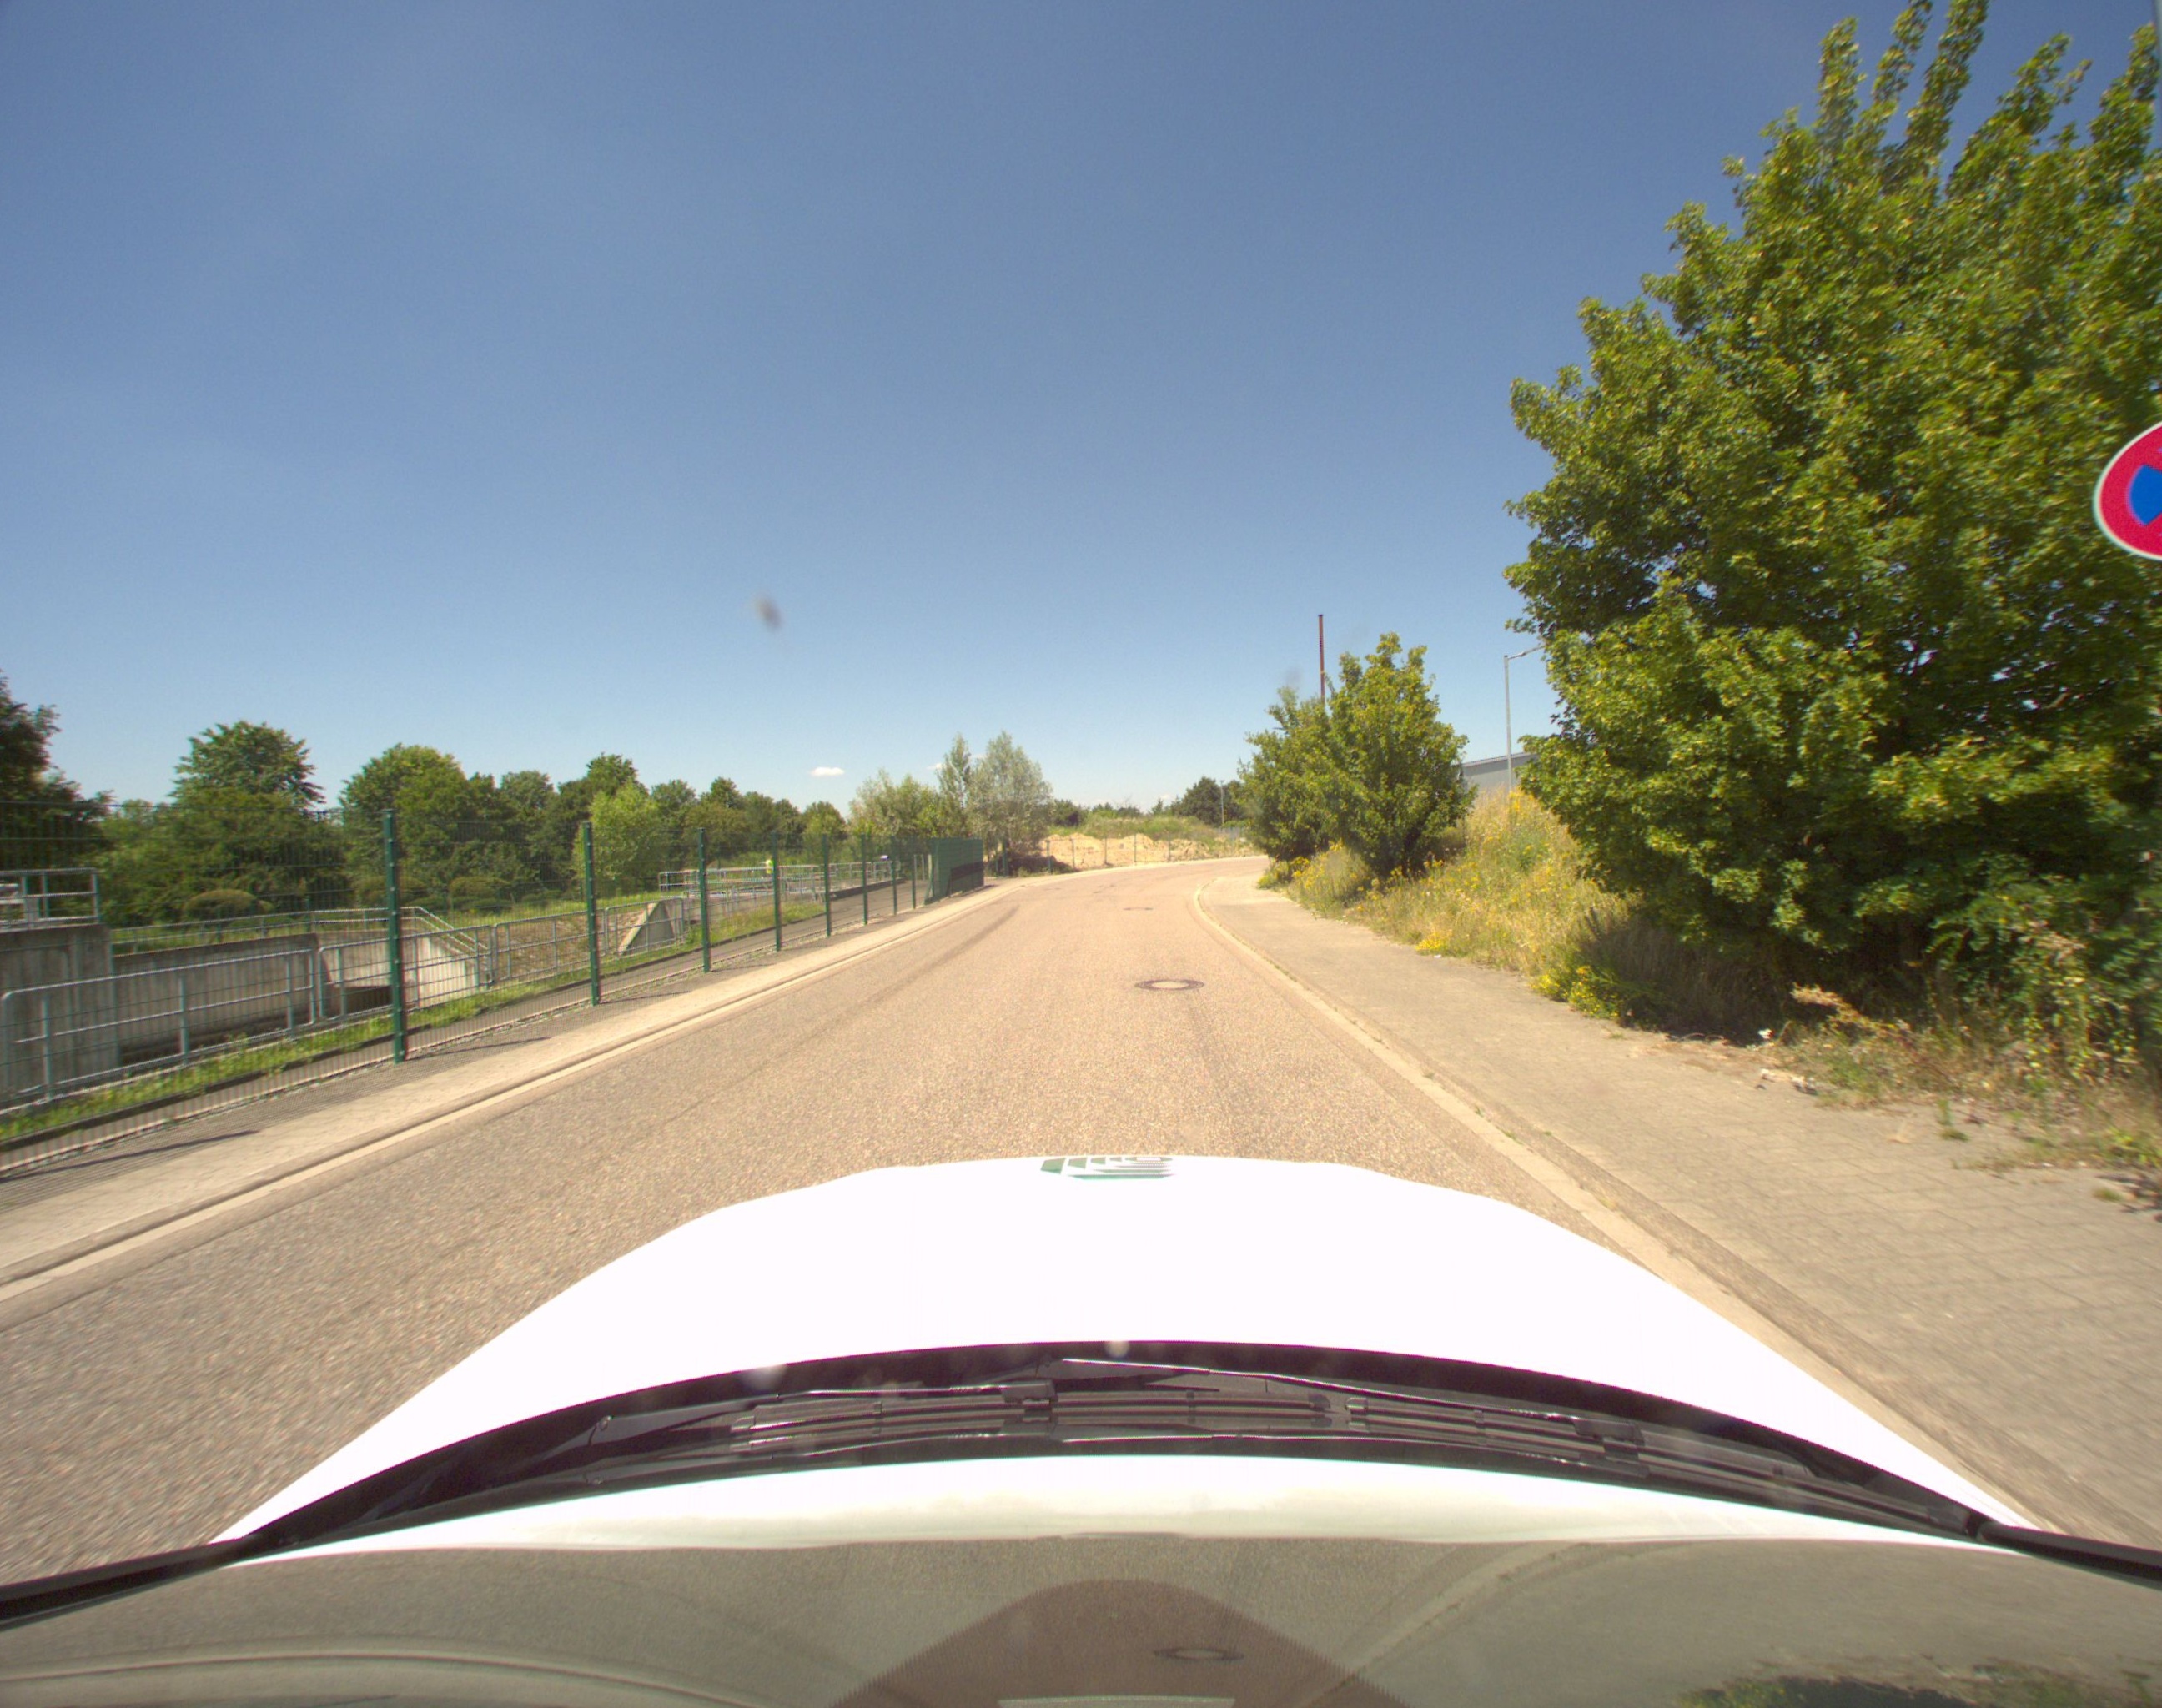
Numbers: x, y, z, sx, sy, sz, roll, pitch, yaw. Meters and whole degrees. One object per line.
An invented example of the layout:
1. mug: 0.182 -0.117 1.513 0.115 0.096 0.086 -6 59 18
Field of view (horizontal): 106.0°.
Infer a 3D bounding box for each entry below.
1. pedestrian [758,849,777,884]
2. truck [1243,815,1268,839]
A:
1. pedestrian: -16.743 0.666 43.504 0.603 1.839 0.805 -3 0 1
2. truck: 23.861 -3.687 111.574 1.989 2.984 4.641 -3 0 -3
